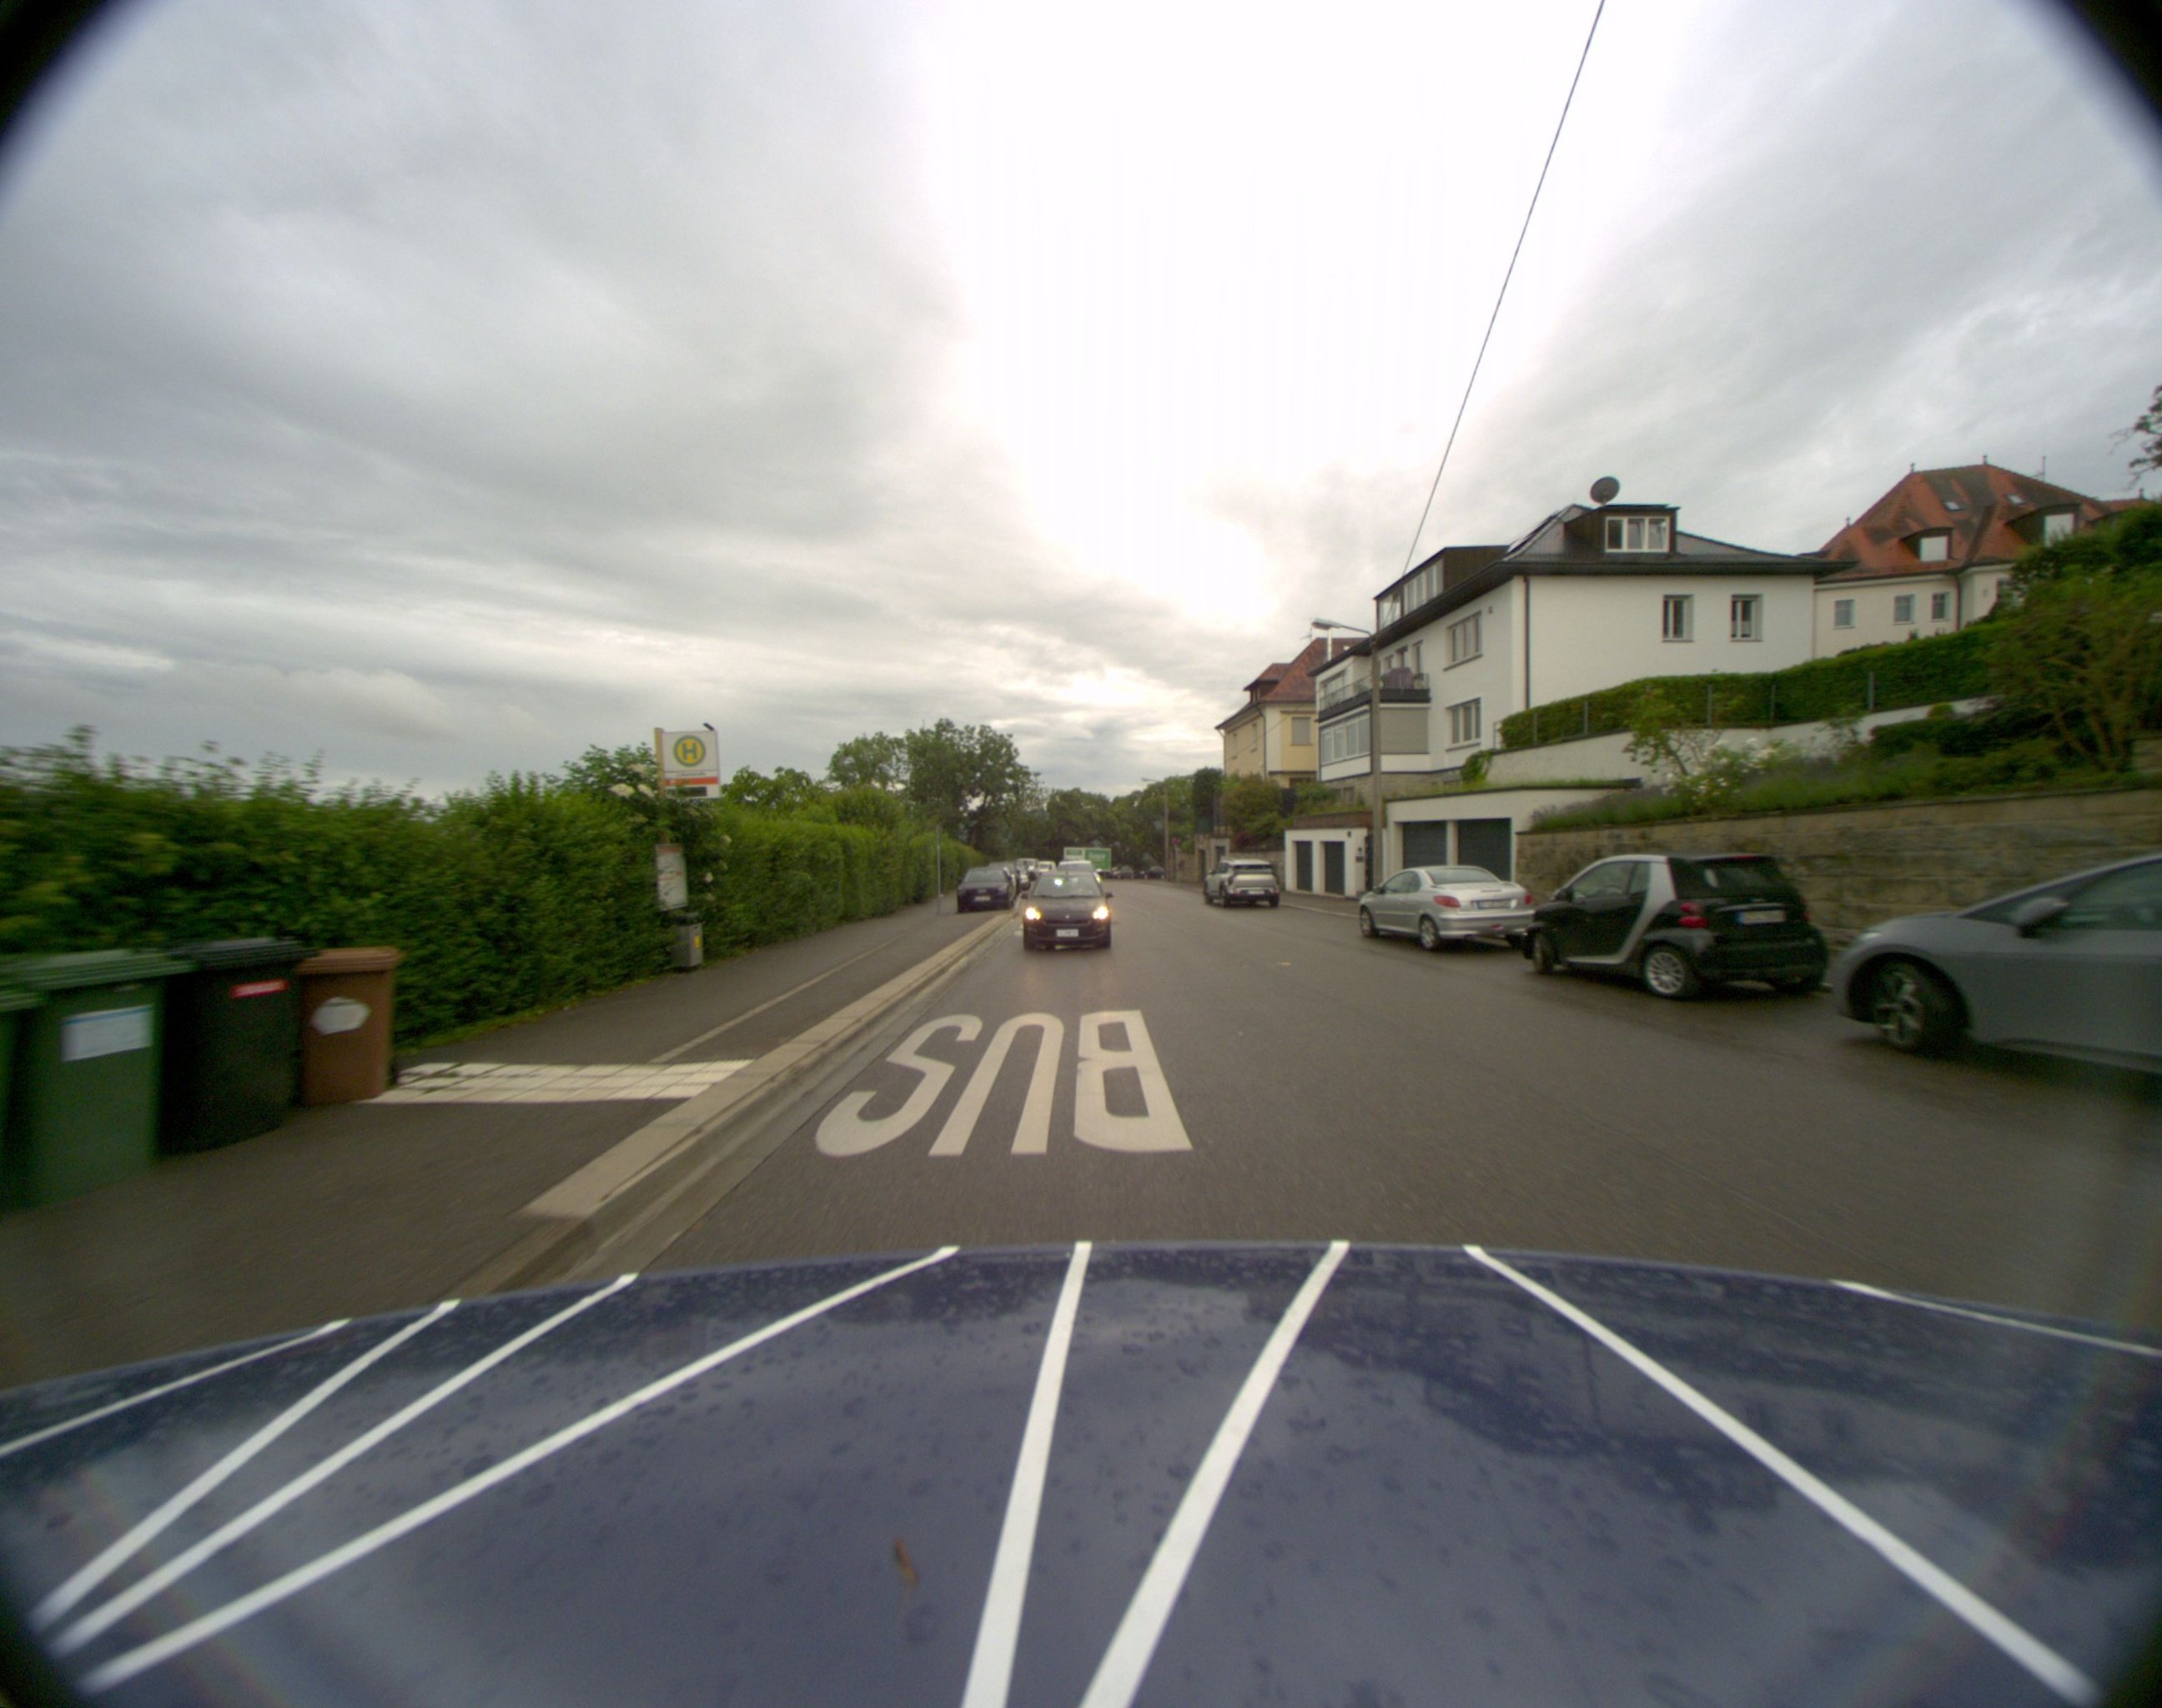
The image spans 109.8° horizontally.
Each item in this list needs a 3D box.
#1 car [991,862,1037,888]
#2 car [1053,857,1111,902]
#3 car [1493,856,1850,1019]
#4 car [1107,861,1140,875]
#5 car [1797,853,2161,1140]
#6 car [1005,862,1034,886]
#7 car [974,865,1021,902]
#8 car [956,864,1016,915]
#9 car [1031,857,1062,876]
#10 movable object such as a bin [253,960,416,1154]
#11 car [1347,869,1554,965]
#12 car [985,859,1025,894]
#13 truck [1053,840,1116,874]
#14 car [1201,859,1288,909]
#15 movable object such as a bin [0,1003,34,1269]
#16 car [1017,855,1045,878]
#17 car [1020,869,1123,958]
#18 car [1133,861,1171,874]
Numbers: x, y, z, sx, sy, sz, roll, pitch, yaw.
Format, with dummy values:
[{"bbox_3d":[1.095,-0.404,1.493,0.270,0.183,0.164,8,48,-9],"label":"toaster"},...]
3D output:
[{"bbox_3d":[-3.997,1.220,44.847,1.806,1.431,4.636,-2,-1,-16],"label":"car"},{"bbox_3d":[0.044,0.999,31.732,2.191,1.698,4.883,-2,0,0],"label":"car"},{"bbox_3d":[6.574,0.816,8.910,1.501,1.515,3.157,-2,0,-7],"label":"car"},{"bbox_3d":[5.049,1.675,90.432,1.734,1.494,4.145,2,0,41],"label":"car"},{"bbox_3d":[6.867,0.776,4.068,1.903,1.506,4.342,-3,0,0],"label":"car"},{"bbox_3d":[-4.086,1.320,51.152,1.693,1.414,3.982,-1,0,-1],"label":"car"},{"bbox_3d":[-3.500,1.195,32.471,1.718,1.397,4.607,-2,0,-3],"label":"car"},{"bbox_3d":[-3.269,1.178,26.798,1.759,1.521,4.204,-2,0,-3],"label":"car"},{"bbox_3d":[-3.380,1.249,74.672,1.862,1.760,4.384,-1,-1,13],"label":"car"},{"bbox_3d":[-4.549,1.197,4.679,0.572,0.963,0.668,-3,0,-35],"label":"movable object such as a bin"},{"bbox_3d":[6.277,0.995,13.434,1.614,1.329,3.840,-3,0,-3],"label":"car"},{"bbox_3d":[-3.909,1.145,39.764,1.892,1.653,4.546,-2,0,-4],"label":"car"},{"bbox_3d":[0.507,0.401,83.807,2.774,3.450,8.952,2,0,30],"label":"truck"},{"bbox_3d":[5.543,0.974,26.322,1.903,1.558,4.237,-1,0,-3],"label":"car"},{"bbox_3d":[-4.566,1.108,2.667,0.713,1.024,0.757,0,0,-4],"label":"movable object such as a bin"},{"bbox_3d":[-4.495,1.108,68.784,1.864,1.936,4.810,1,-1,5],"label":"car"},{"bbox_3d":[-0.309,1.115,15.818,1.784,1.477,4.404,-2,0,-4],"label":"car"},{"bbox_3d":[8.851,1.689,94.552,4.906,1.533,1.860,2,0,-42],"label":"car"}]
